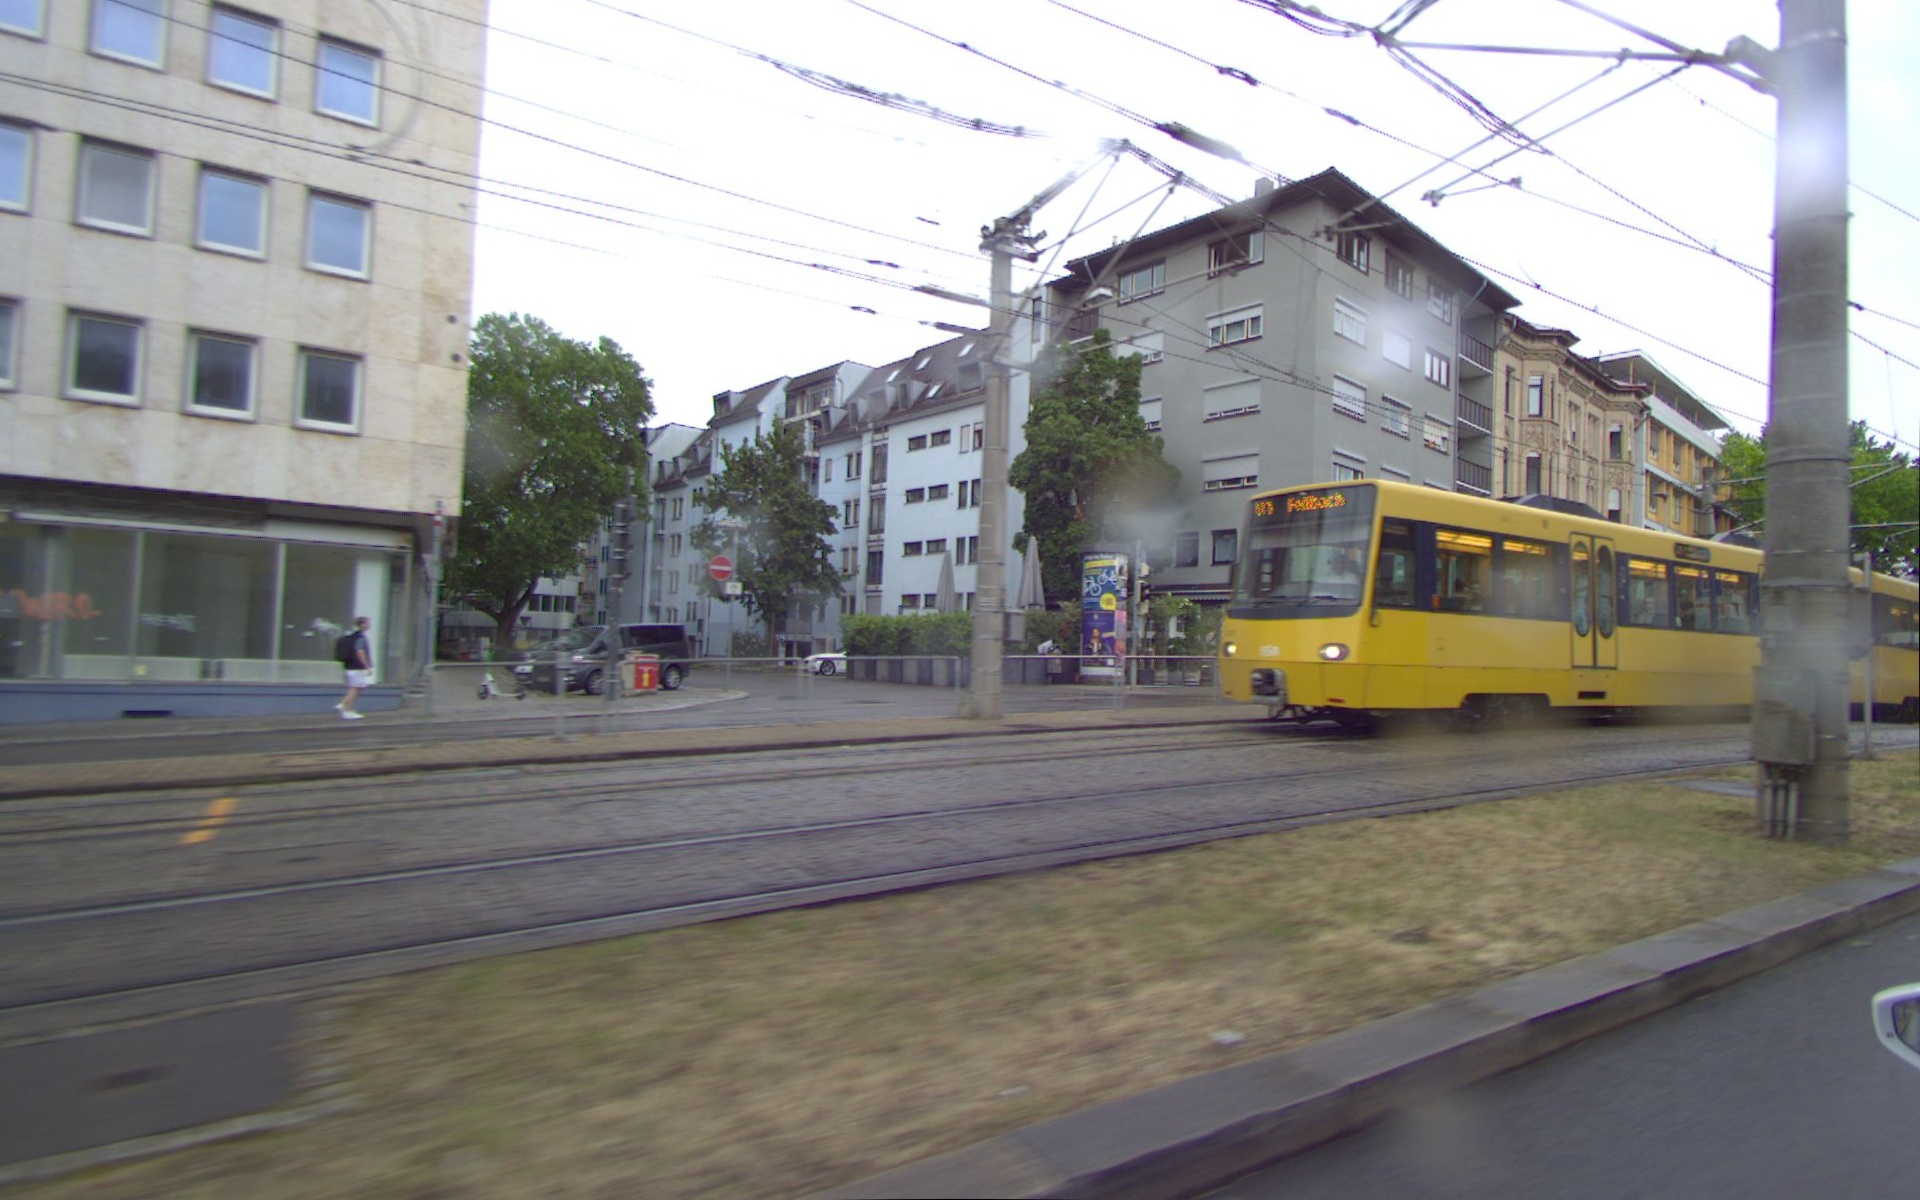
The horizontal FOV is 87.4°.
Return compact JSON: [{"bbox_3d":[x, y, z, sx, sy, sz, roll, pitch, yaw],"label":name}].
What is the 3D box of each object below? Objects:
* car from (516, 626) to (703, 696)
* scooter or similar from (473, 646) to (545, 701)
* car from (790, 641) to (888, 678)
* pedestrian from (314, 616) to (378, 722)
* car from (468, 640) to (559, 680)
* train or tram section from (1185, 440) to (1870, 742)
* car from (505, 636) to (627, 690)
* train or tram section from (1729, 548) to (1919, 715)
[{"bbox_3d":[-10.055,1.698,29.314,1.963,1.853,5.228,0,-2,27],"label":"car"},{"bbox_3d":[-10.014,1.616,22.298,1.459,1.161,0.566,0,-1,19],"label":"scooter or similar"},{"bbox_3d":[-5.426,2.633,45.040,3.946,1.528,1.981,1,-2,-25],"label":"car"},{"bbox_3d":[-10.543,1.165,17.267,0.899,1.761,0.593,1,-2,-32],"label":"pedestrian"},{"bbox_3d":[-19.599,2.587,44.265,1.716,1.661,4.003,0,-2,10],"label":"car"},{"bbox_3d":[11.917,0.317,18.688,18.767,3.745,2.731,3,-2,-33],"label":"train or tram section"},{"bbox_3d":[-12.996,2.039,33.433,1.953,1.661,4.003,0,-2,10],"label":"car"},{"bbox_3d":[27.686,1.137,28.872,18.767,3.745,2.731,3,-2,-33],"label":"train or tram section"}]
